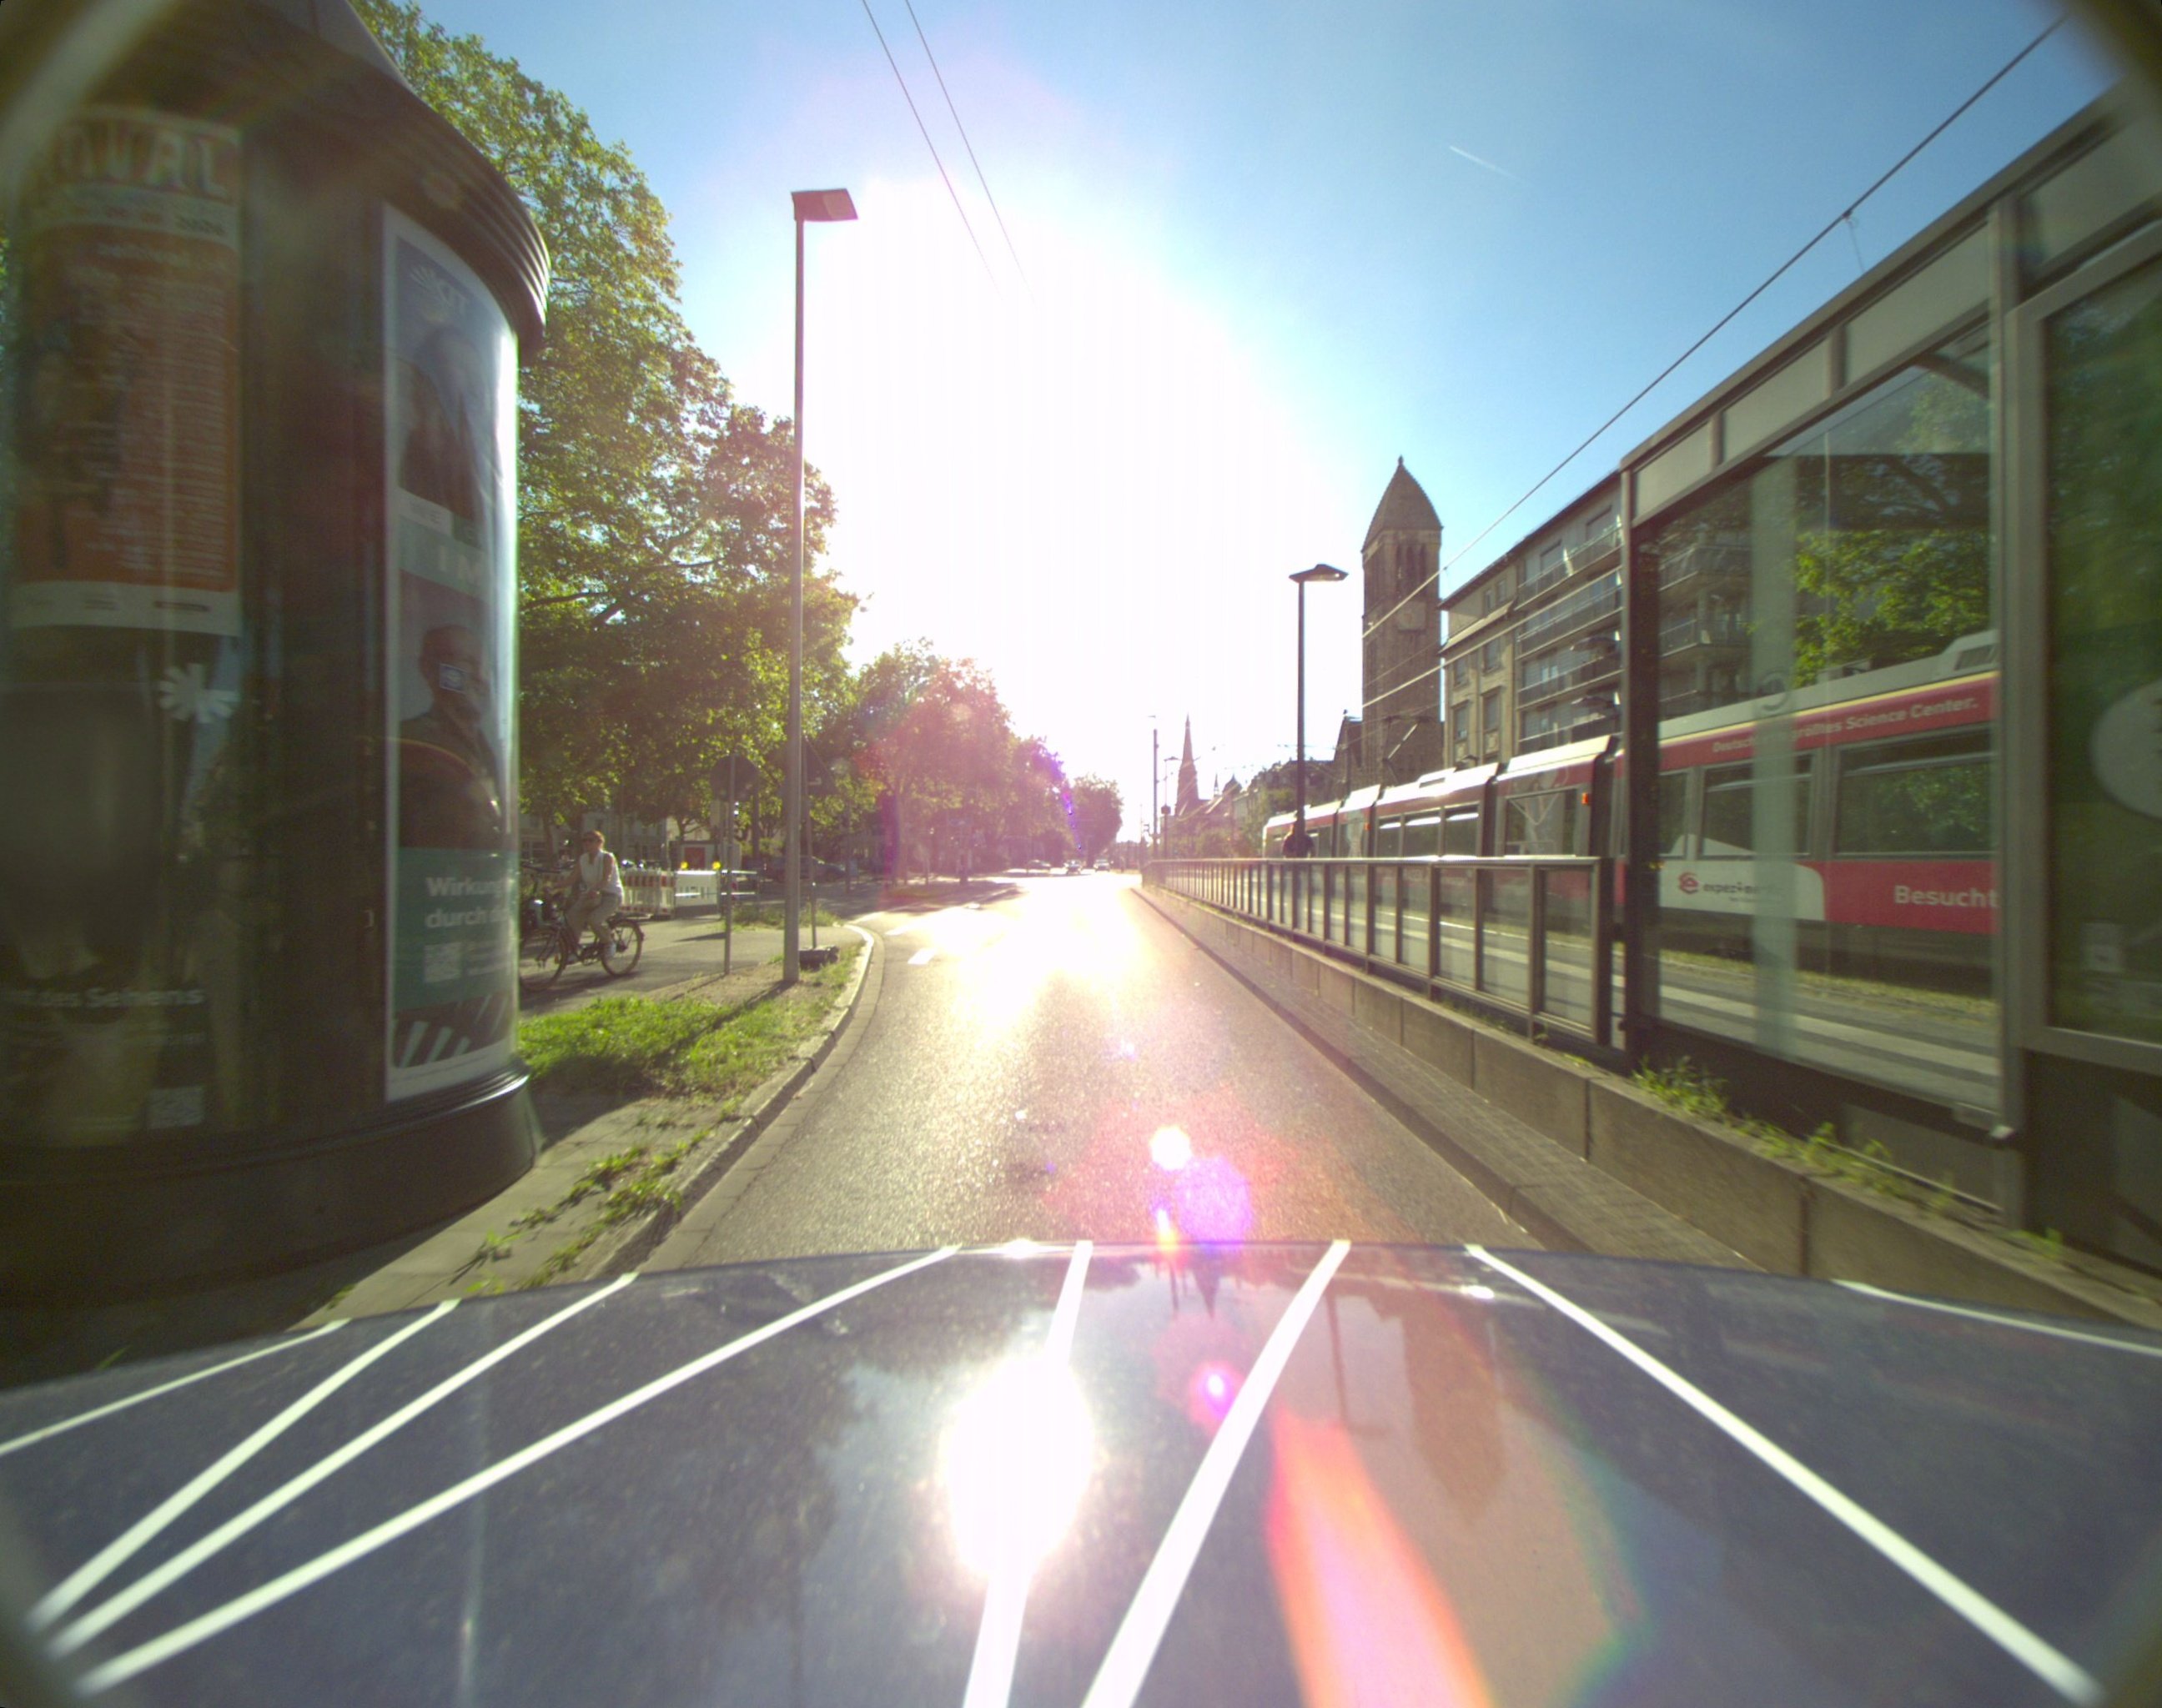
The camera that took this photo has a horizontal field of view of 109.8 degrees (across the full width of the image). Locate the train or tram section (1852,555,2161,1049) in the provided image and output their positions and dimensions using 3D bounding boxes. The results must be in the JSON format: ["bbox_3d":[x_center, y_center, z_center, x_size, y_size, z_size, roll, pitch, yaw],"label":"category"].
[{"bbox_3d":[9.402,-0.386,3.055,2.876,3.664,9.684,0,0,1],"label":"train or tram section"}]

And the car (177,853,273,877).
[{"bbox_3d":[-58.547,0.754,52.016,4.351,1.471,1.730,2,0,-4],"label":"car"}]

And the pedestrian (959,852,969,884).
[{"bbox_3d":[-6.150,0.725,39.940,0.429,1.629,0.613,-1,0,-7],"label":"pedestrian"}]

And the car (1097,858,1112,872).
[{"bbox_3d":[2.752,1.228,88.430,1.636,1.491,4.000,-2,0,1],"label":"car"}]

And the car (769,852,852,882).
[{"bbox_3d":[-16.412,0.775,46.204,4.584,1.630,1.932,-2,0,-21],"label":"car"}]

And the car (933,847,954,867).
[{"bbox_3d":[-20.165,0.464,111.237,1.998,2.726,4.715,-2,0,2],"label":"car"}]

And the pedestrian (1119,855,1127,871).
[{"bbox_3d":[4.342,0.923,78.641,0.678,1.611,0.925,-2,0,-1],"label":"pedestrian"}]

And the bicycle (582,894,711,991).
[{"bbox_3d":[-5.377,1.052,9.541,0.604,1.020,1.766,0,0,0],"label":"bicycle"}]

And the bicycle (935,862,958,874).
[{"bbox_3d":[-11.524,1.192,65.058,1.827,1.047,0.534,-1,0,-25],"label":"bicycle"}]

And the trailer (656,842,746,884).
[{"bbox_3d":[-21.990,0.505,44.153,4.520,2.359,1.911,0,0,-21],"label":"trailer"}]

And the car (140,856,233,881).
[{"bbox_3d":[-58.282,0.927,49.539,4.347,1.471,1.825,2,0,7],"label":"car"}]

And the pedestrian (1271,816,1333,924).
[{"bbox_3d":[3.441,0.238,11.921,0.631,1.600,0.982,-2,0,-1],"label":"pedestrian"}]

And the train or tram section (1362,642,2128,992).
[{"bbox_3d":[9.638,-0.371,15.253,2.876,3.664,14.561,0,0,1],"label":"train or tram section"}]

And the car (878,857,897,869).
[{"bbox_3d":[-28.467,1.328,111.960,1.806,1.649,4.179,-1,-1,-2],"label":"car"}]

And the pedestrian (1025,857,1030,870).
[{"bbox_3d":[-7.455,1.292,106.381,0.631,1.833,0.540,-2,0,-1],"label":"pedestrian"}]

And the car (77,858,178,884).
[{"bbox_3d":[-58.660,1.029,46.773,4.347,1.471,1.825,2,0,7],"label":"car"}]

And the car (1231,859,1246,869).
[{"bbox_3d":[26.793,1.718,129.137,1.786,1.521,4.214,-2,0,2],"label":"car"}]

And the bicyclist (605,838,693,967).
[{"bbox_3d":[-5.375,0.582,9.489,0.604,1.542,0.860,0,0,0],"label":"bicyclist"}]

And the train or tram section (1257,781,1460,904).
[{"bbox_3d":[9.903,-0.321,29.808,2.876,3.654,14.561,0,0,1],"label":"train or tram section"}]

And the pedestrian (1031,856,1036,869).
[{"bbox_3d":[-6.689,1.152,106.411,0.631,1.833,0.540,-2,0,-1],"label":"pedestrian"}]

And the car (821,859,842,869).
[{"bbox_3d":[-36.517,1.460,111.223,1.710,1.493,4.179,-1,-1,-2],"label":"car"}]

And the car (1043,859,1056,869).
[{"bbox_3d":[-4.831,1.510,116.700,1.720,1.319,3.754,-2,0,1],"label":"car"}]

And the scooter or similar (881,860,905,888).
[{"bbox_3d":[-8.558,0.907,34.582,0.561,1.250,1.291,1,1,9],"label":"scooter or similar"}]
